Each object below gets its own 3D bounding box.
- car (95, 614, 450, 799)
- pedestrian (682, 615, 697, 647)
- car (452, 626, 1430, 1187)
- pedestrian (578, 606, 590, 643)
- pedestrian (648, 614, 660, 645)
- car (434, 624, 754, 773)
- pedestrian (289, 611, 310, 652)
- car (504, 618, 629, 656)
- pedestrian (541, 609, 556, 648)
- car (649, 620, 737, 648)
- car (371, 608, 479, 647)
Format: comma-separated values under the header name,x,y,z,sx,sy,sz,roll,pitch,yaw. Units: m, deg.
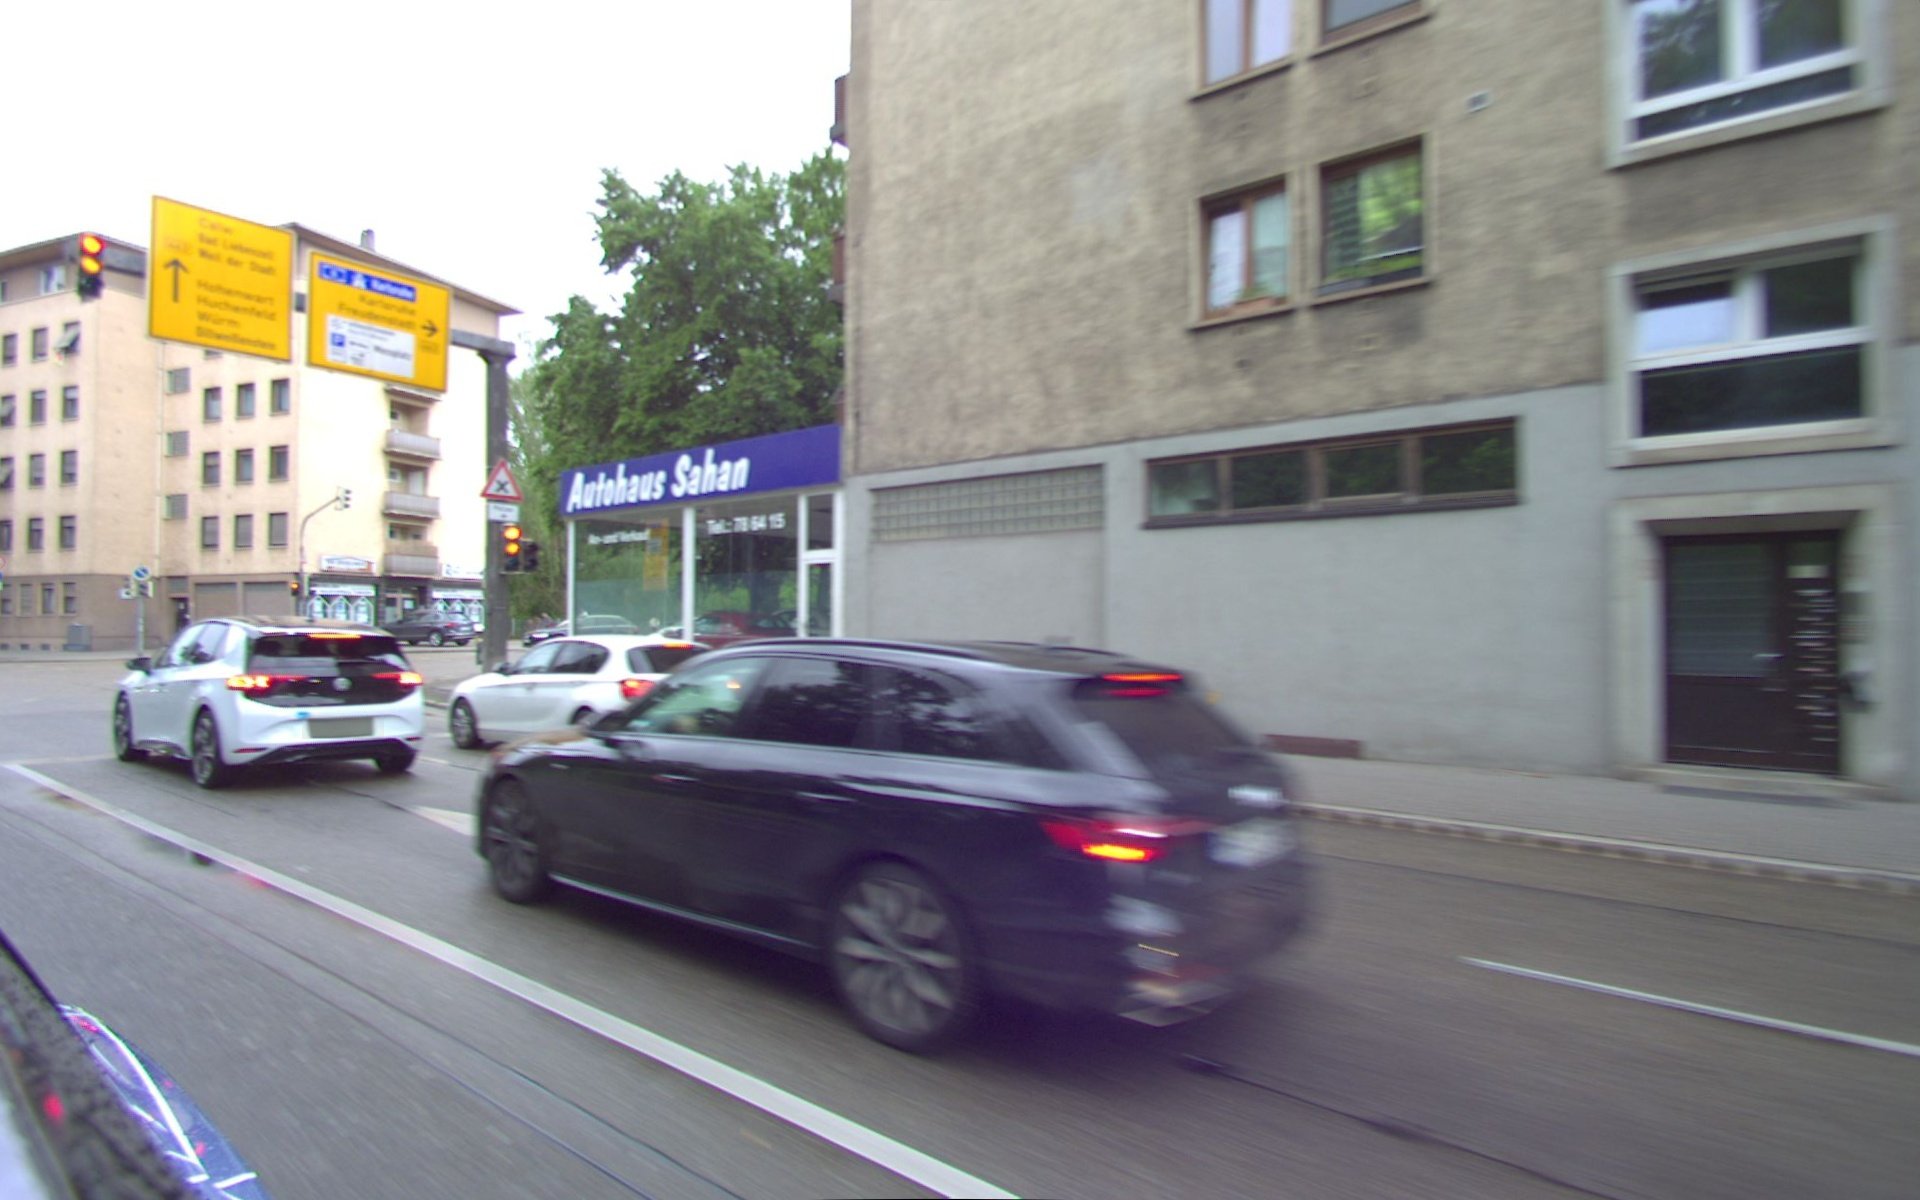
name,x,y,z,sx,sy,sz,roll,pitch,yaw
car,-7.097,0.938,10.292,4.211,1.507,1.767,-1,-3,38
pedestrian,-14.210,1.640,53.144,0.691,1.659,0.661,0,-1,-8
car,-0.483,0.848,4.789,4.622,1.418,1.772,-1,-3,41
pedestrian,-18.519,1.208,49.821,0.500,1.817,0.499,0,-1,-25
pedestrian,-15.766,1.502,52.175,0.458,1.595,0.440,-1,-1,14
car,-4.393,1.045,11.903,3.994,1.467,1.642,-1,-4,38
pedestrian,-27.179,1.284,41.640,0.618,1.651,0.573,-2,-2,44
car,-16.170,1.495,41.741,1.998,1.474,4.447,-1,-1,39
pedestrian,-19.585,1.357,48.162,0.550,1.817,0.477,0,-1,-11
car,-13.127,1.663,49.892,1.652,1.319,3.944,-1,-1,42
car,-24.197,1.221,45.806,4.240,1.660,1.752,1,-1,14
